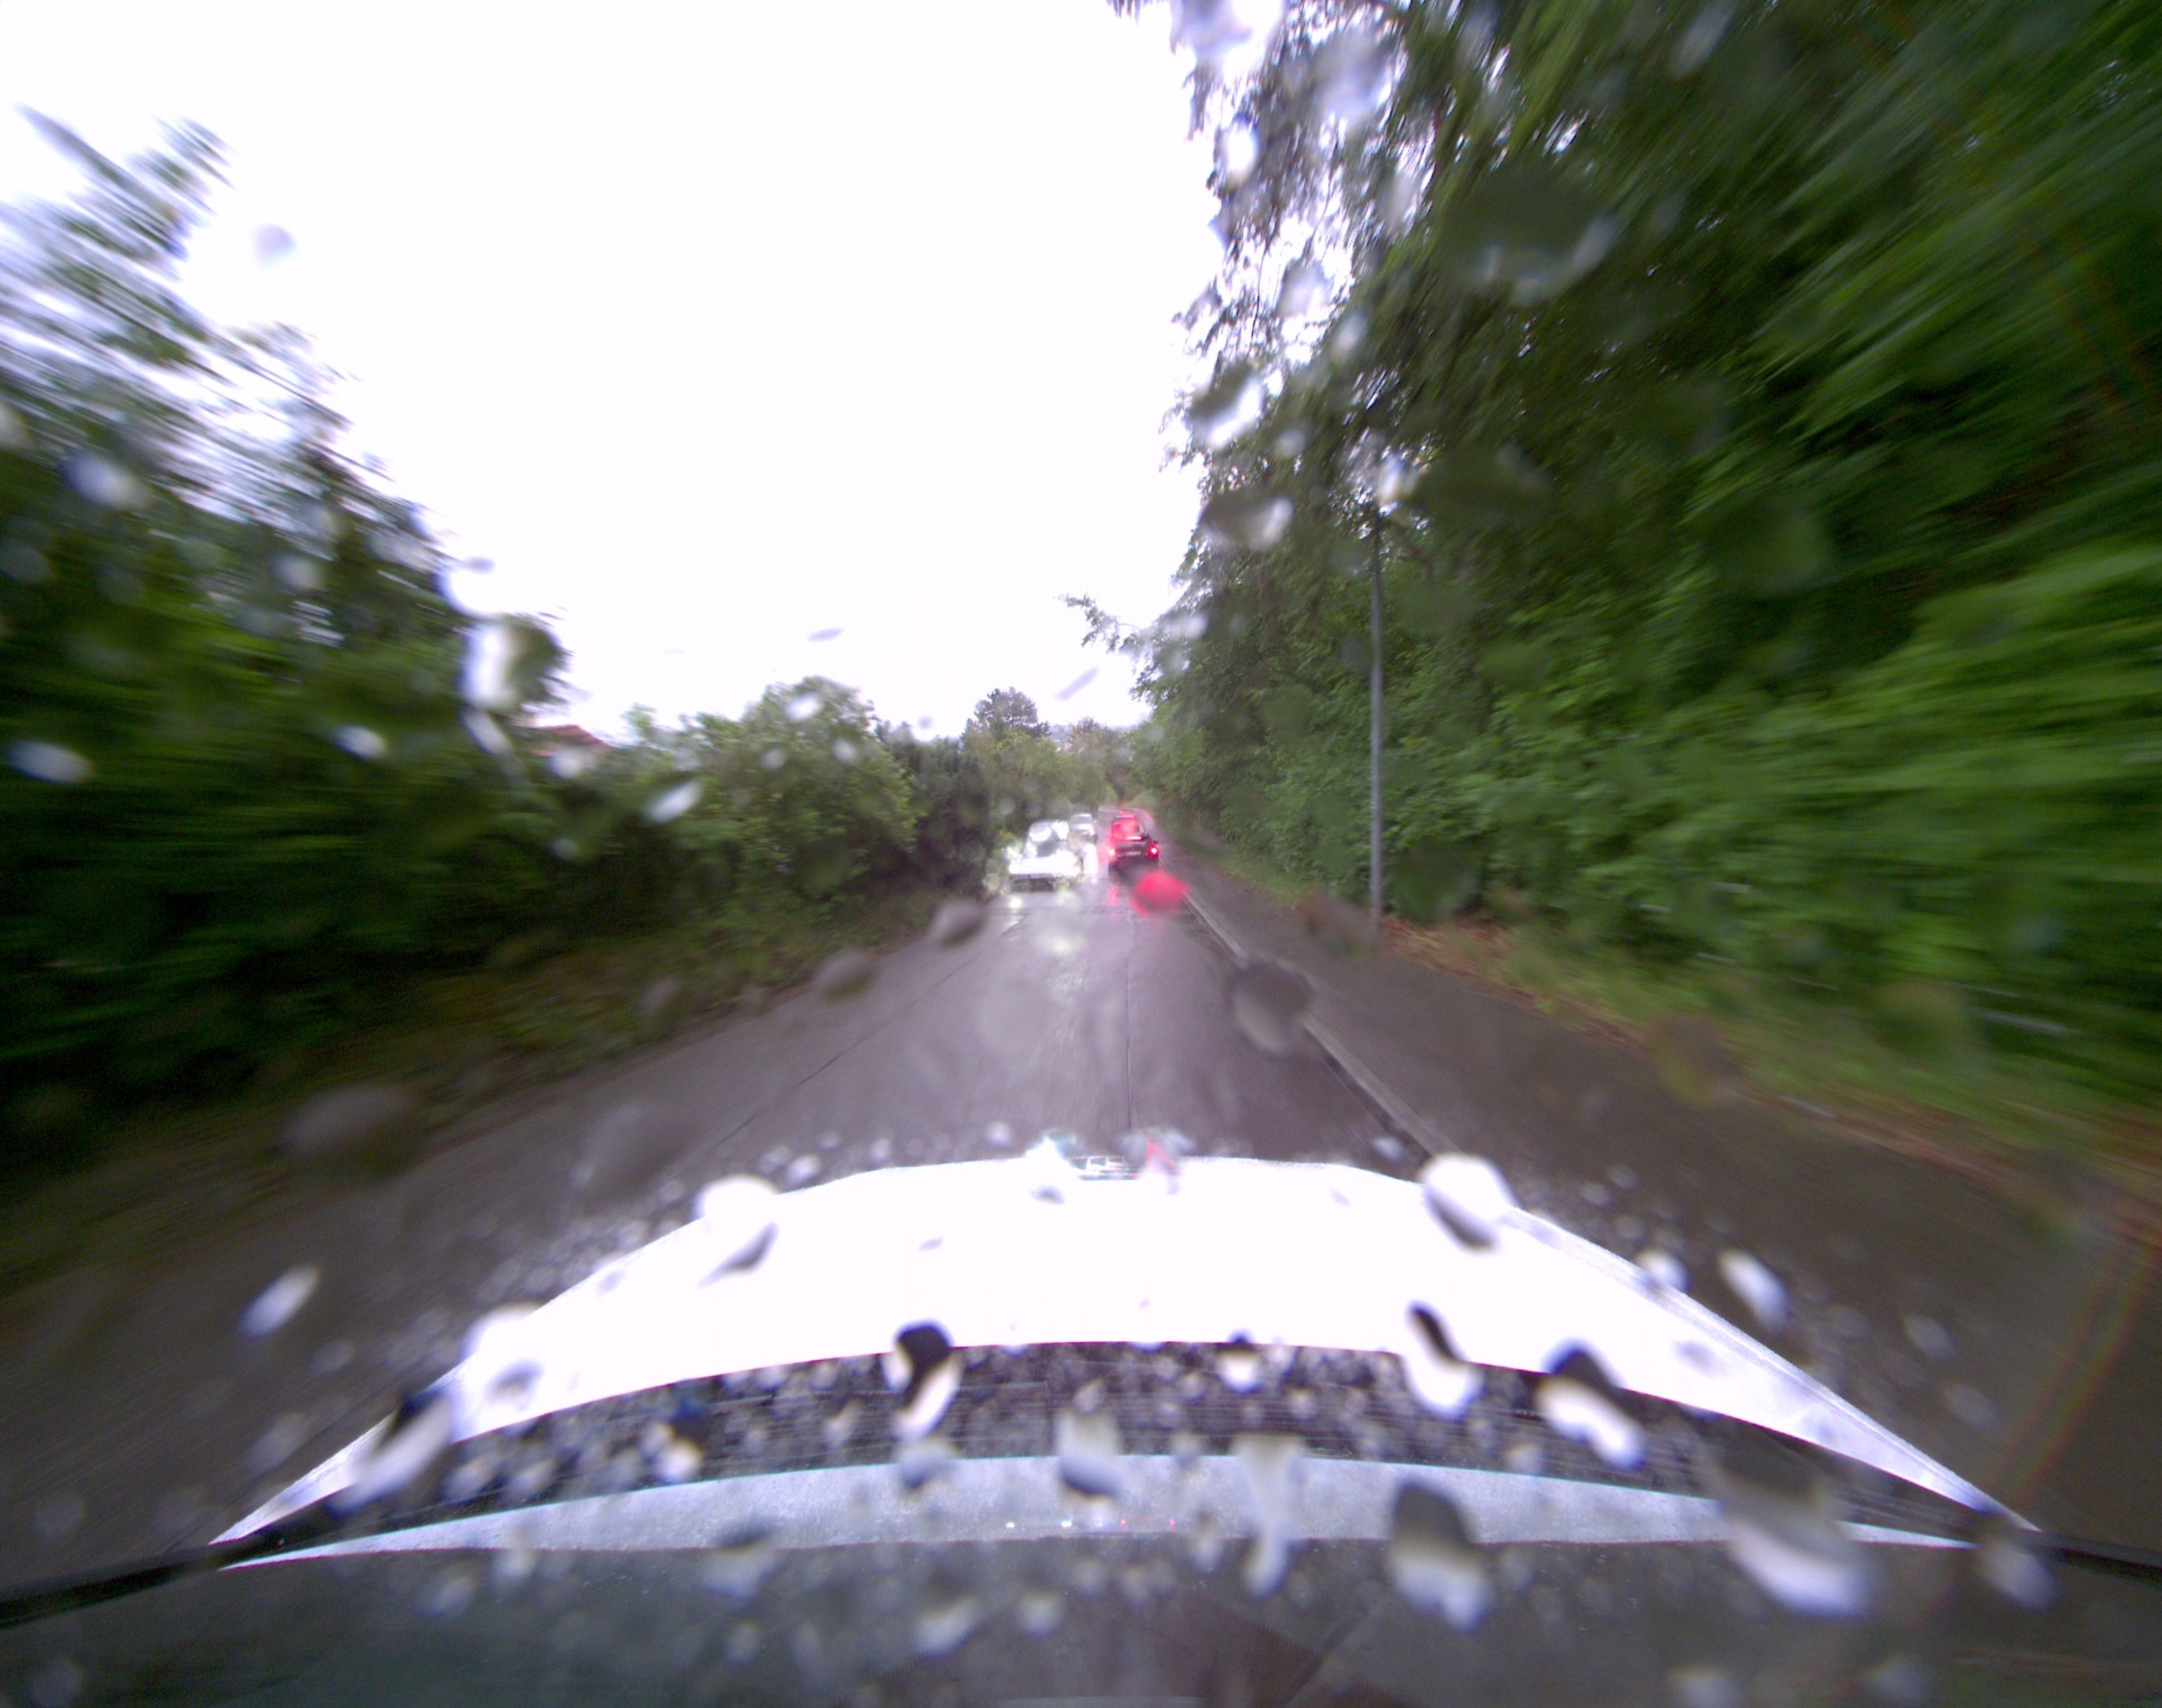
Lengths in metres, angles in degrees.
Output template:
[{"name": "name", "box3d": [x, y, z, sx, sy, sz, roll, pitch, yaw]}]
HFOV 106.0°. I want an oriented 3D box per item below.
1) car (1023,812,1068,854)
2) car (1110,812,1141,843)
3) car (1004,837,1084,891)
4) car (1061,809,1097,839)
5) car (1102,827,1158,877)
[{"name": "car", "box3d": [-1.688, -1.116, 40.521, 1.682, 1.782, 4.238, -3, 4, 4]}, {"name": "car", "box3d": [2.829, -1.651, 52.019, 1.856, 1.743, 4.002, -2, 0, 2]}, {"name": "car", "box3d": [-1.084, 0.292, 26.403, 1.932, 1.522, 4.585, -2, 0, 5]}, {"name": "car", "box3d": [-0.060, -1.886, 50.481, 2.040, 1.600, 4.234, -1, 5, 2]}, {"name": "car", "box3d": [1.700, -0.122, 29.319, 1.694, 1.449, 4.001, -3, 4, 0]}]
